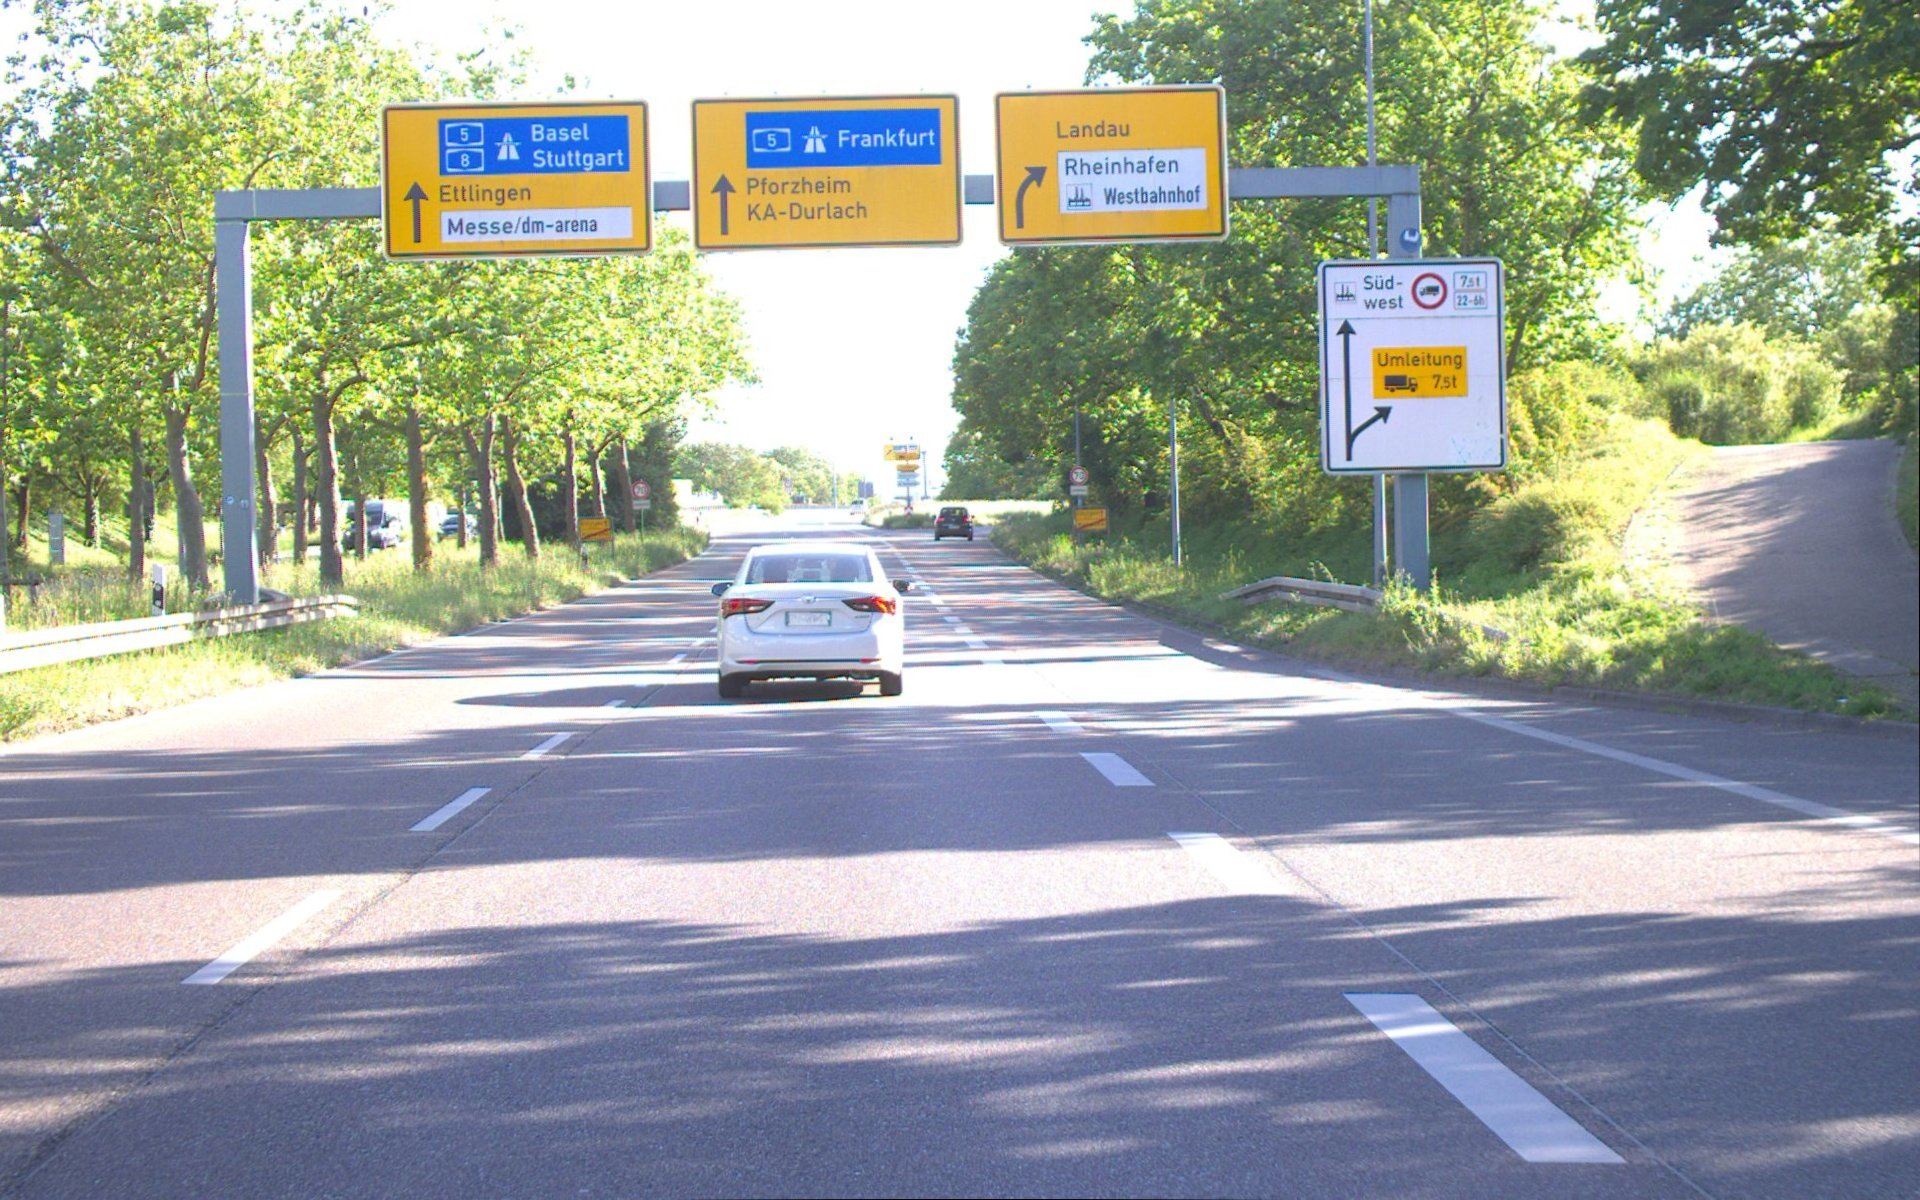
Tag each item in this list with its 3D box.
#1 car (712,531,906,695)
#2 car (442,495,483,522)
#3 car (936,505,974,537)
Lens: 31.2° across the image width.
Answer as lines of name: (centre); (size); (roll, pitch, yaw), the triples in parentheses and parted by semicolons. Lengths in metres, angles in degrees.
car: (-1.476, 0.078, 34.149); (1.767, 1.459, 4.367); (-1, 1, -2)
car: (-28.243, -5.190, 195.138); (1.767, 1.459, 4.367); (-1, 1, -2)
car: (-0.242, -3.764, 162.749); (1.767, 1.459, 4.366); (-1, 1, 0)
